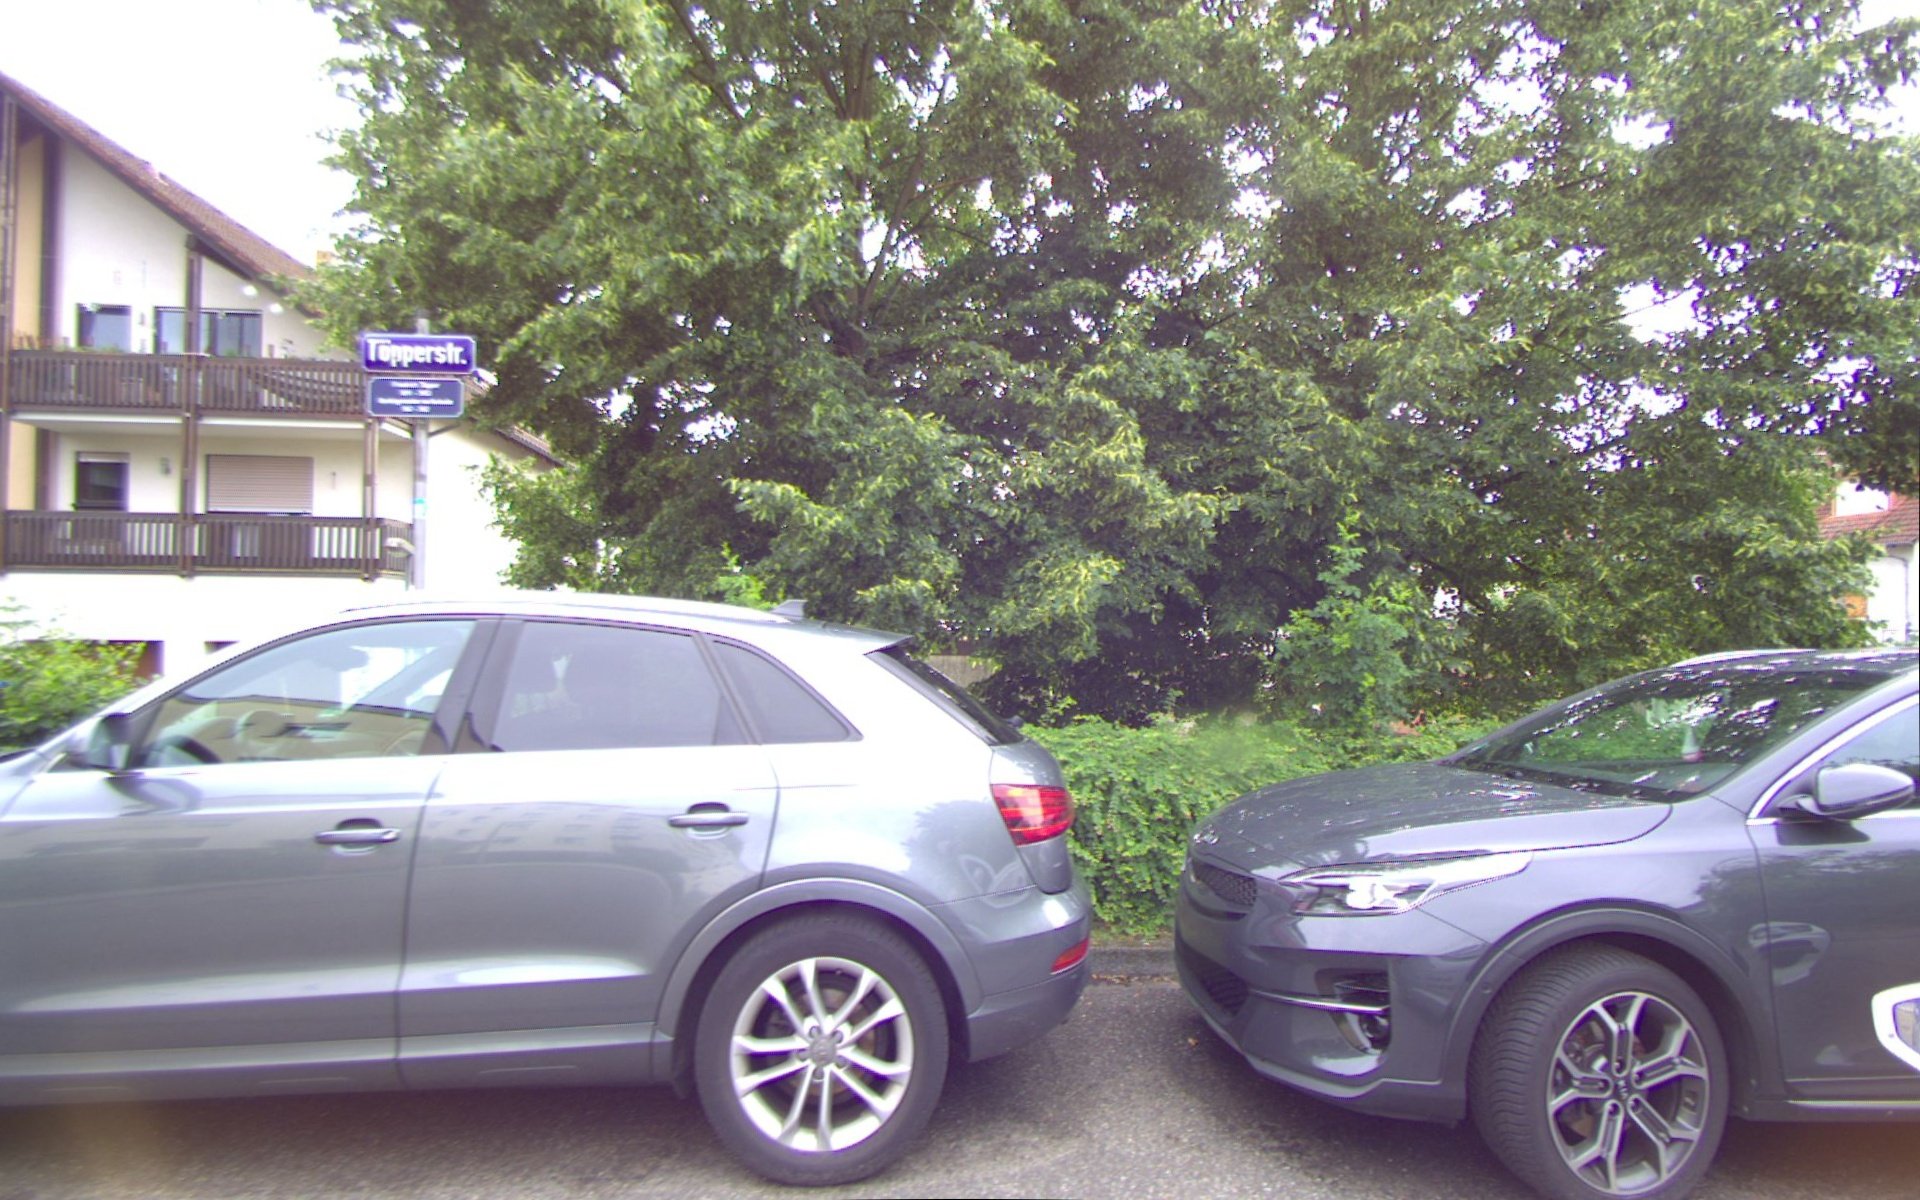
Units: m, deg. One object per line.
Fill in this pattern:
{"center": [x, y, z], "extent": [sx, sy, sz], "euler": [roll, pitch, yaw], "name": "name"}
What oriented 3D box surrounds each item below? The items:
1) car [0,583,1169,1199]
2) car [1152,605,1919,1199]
{"center": [-1.584, 0.796, 3.405], "extent": [4.170, 1.551, 1.747], "euler": [1, -3, -6], "name": "car"}
{"center": [2.876, 0.858, 3.417], "extent": [4.112, 1.551, 1.748], "euler": [1, -3, 0], "name": "car"}
